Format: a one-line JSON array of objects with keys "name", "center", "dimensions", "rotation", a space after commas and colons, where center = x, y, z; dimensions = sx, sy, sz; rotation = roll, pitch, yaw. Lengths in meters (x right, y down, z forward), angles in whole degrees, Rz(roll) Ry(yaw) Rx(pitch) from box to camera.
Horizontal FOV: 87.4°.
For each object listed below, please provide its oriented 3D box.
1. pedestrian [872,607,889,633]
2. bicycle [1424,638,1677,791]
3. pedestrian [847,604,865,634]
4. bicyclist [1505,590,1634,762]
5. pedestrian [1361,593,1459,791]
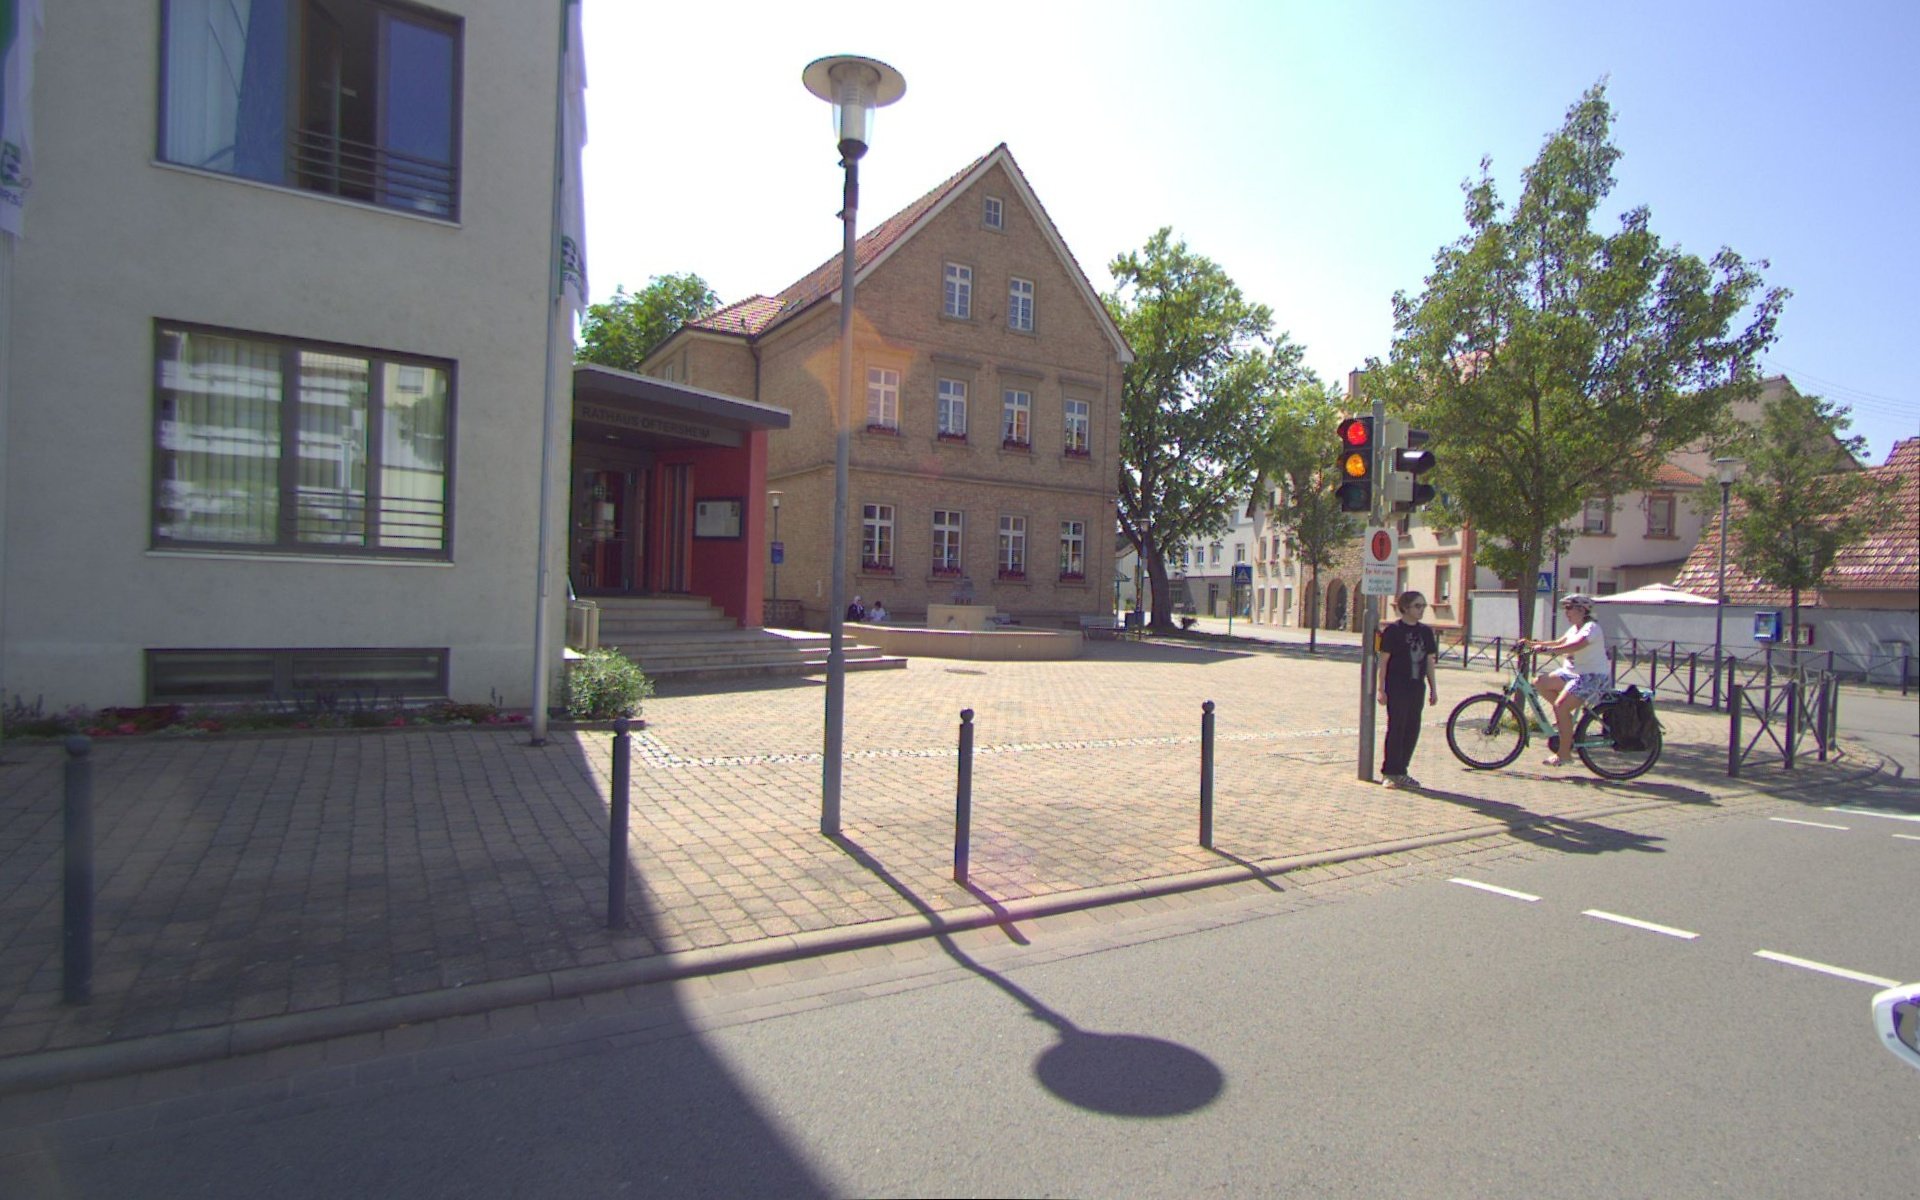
[{"name": "pedestrian", "center": [-2.286, 0.577, 28.891], "dimensions": [0.352, 0.742, 0.288], "rotation": [2, 0, 43]}, {"name": "bicycle", "center": [5.547, 1.045, 9.569], "dimensions": [1.933, 1.269, 0.711], "rotation": [2, 0, 18]}, {"name": "pedestrian", "center": [-2.940, 0.542, 28.395], "dimensions": [0.356, 0.828, 0.365], "rotation": [2, 0, 42]}, {"name": "bicyclist", "center": [5.745, 0.688, 9.524], "dimensions": [0.853, 1.526, 0.717], "rotation": [2, 0, 17]}, {"name": "pedestrian", "center": [3.891, 0.772, 8.716], "dimensions": [0.546, 1.640, 0.550], "rotation": [3, 0, 4]}]
